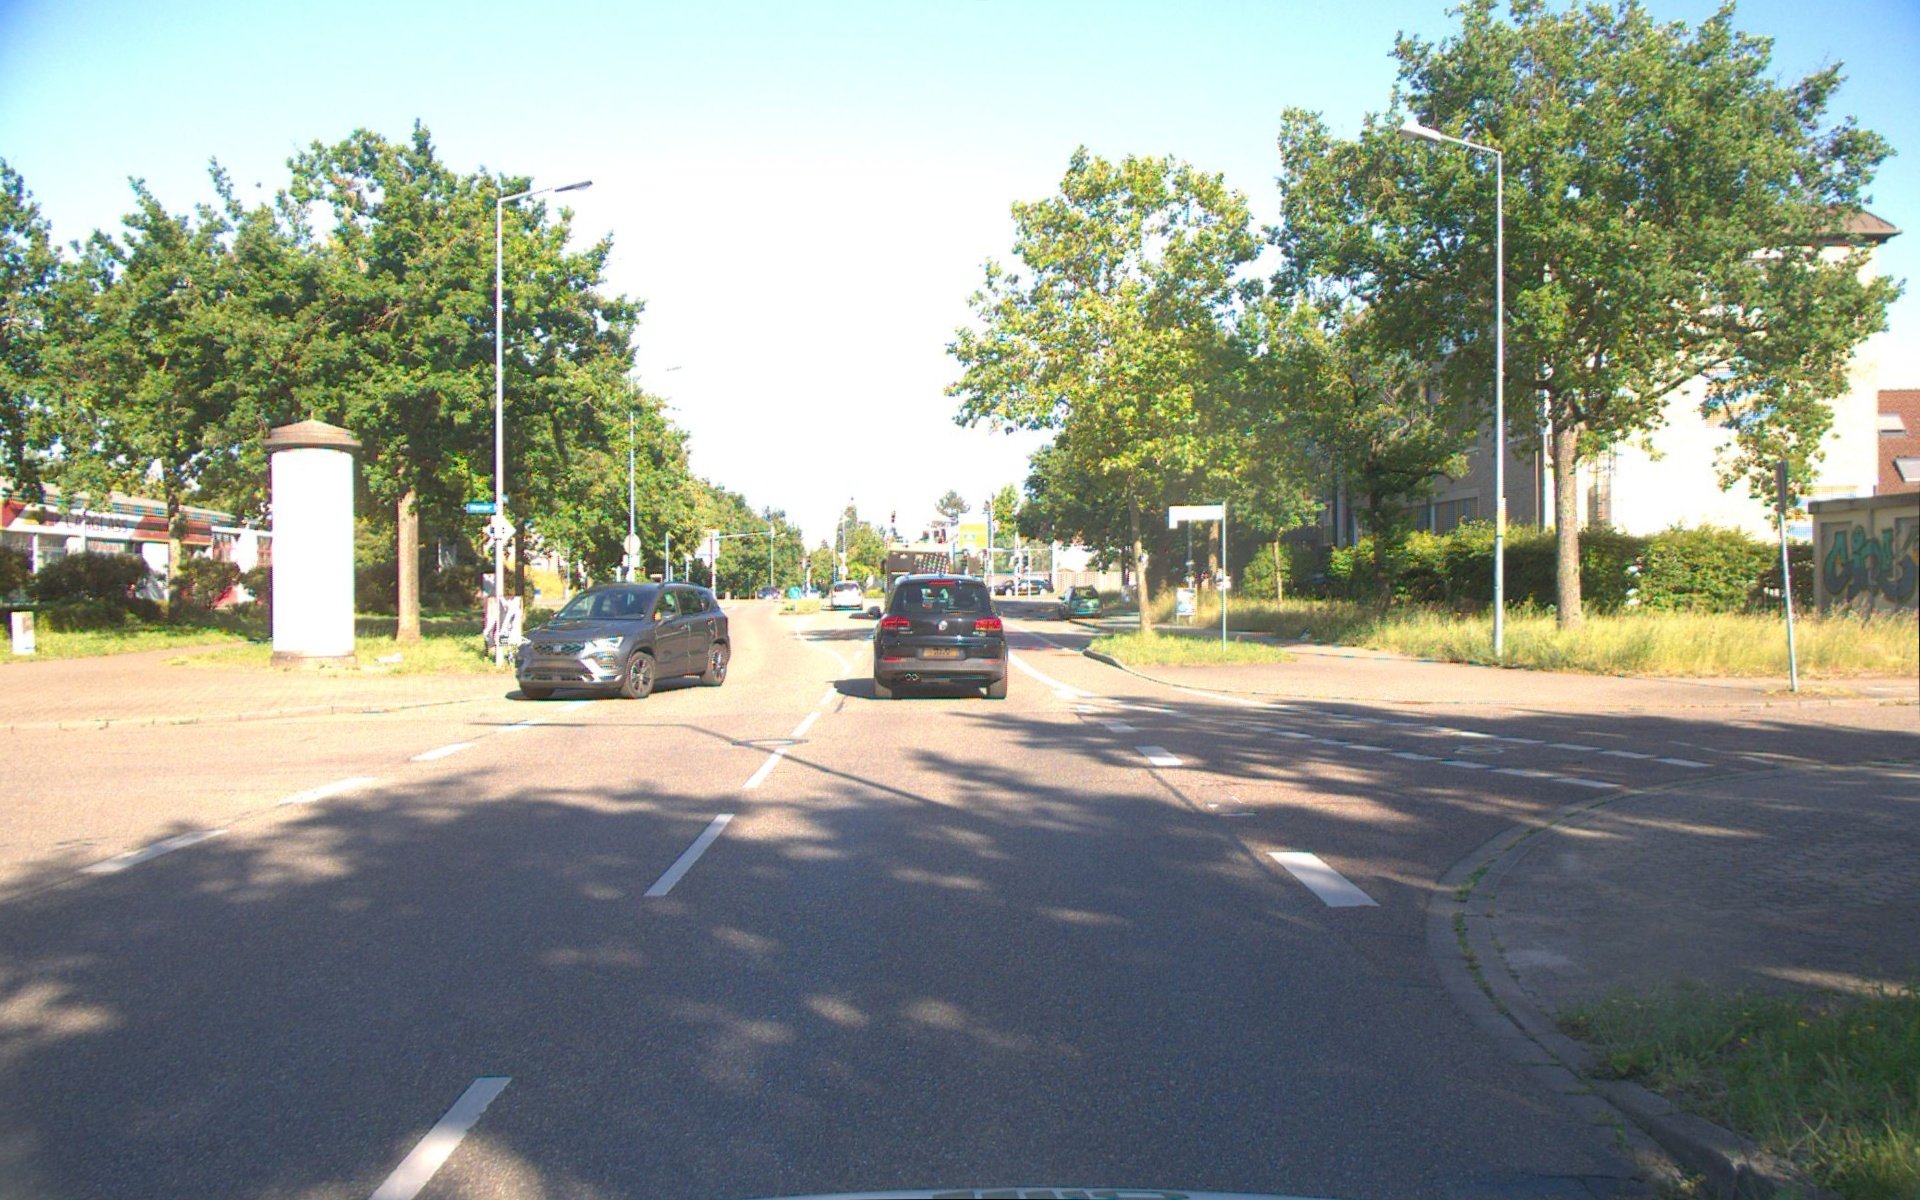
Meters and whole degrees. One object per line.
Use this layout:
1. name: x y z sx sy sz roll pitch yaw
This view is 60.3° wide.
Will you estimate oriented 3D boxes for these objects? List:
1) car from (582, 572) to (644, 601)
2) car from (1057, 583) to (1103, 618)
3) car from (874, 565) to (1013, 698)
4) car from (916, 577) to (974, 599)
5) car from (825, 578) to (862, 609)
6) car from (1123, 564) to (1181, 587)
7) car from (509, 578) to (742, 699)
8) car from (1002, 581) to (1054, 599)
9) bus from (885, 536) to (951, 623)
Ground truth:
1. car: -23.686 -0.924 112.970 3.911 1.913 1.997 1 0 -7
2. car: 5.258 -0.006 72.870 1.560 1.453 4.202 -2 0 -2
3. car: -0.238 0.418 23.329 1.784 1.703 4.002 -1 0 -1
4. car: -0.935 -0.761 103.436 3.447 1.325 1.576 0 0 6
5. car: -6.408 -0.350 90.848 1.721 1.648 4.025 0 0 -9
6. car: 15.259 -1.930 131.786 4.300 1.713 1.709 1 0 -8
7. car: -4.813 0.529 24.455 1.716 1.623 4.302 0 0 14
8. car: 5.323 -0.756 130.341 3.822 1.363 1.678 1 0 -12
9. bus: -1.942 -0.881 71.916 2.544 3.392 11.977 1 1 -3
